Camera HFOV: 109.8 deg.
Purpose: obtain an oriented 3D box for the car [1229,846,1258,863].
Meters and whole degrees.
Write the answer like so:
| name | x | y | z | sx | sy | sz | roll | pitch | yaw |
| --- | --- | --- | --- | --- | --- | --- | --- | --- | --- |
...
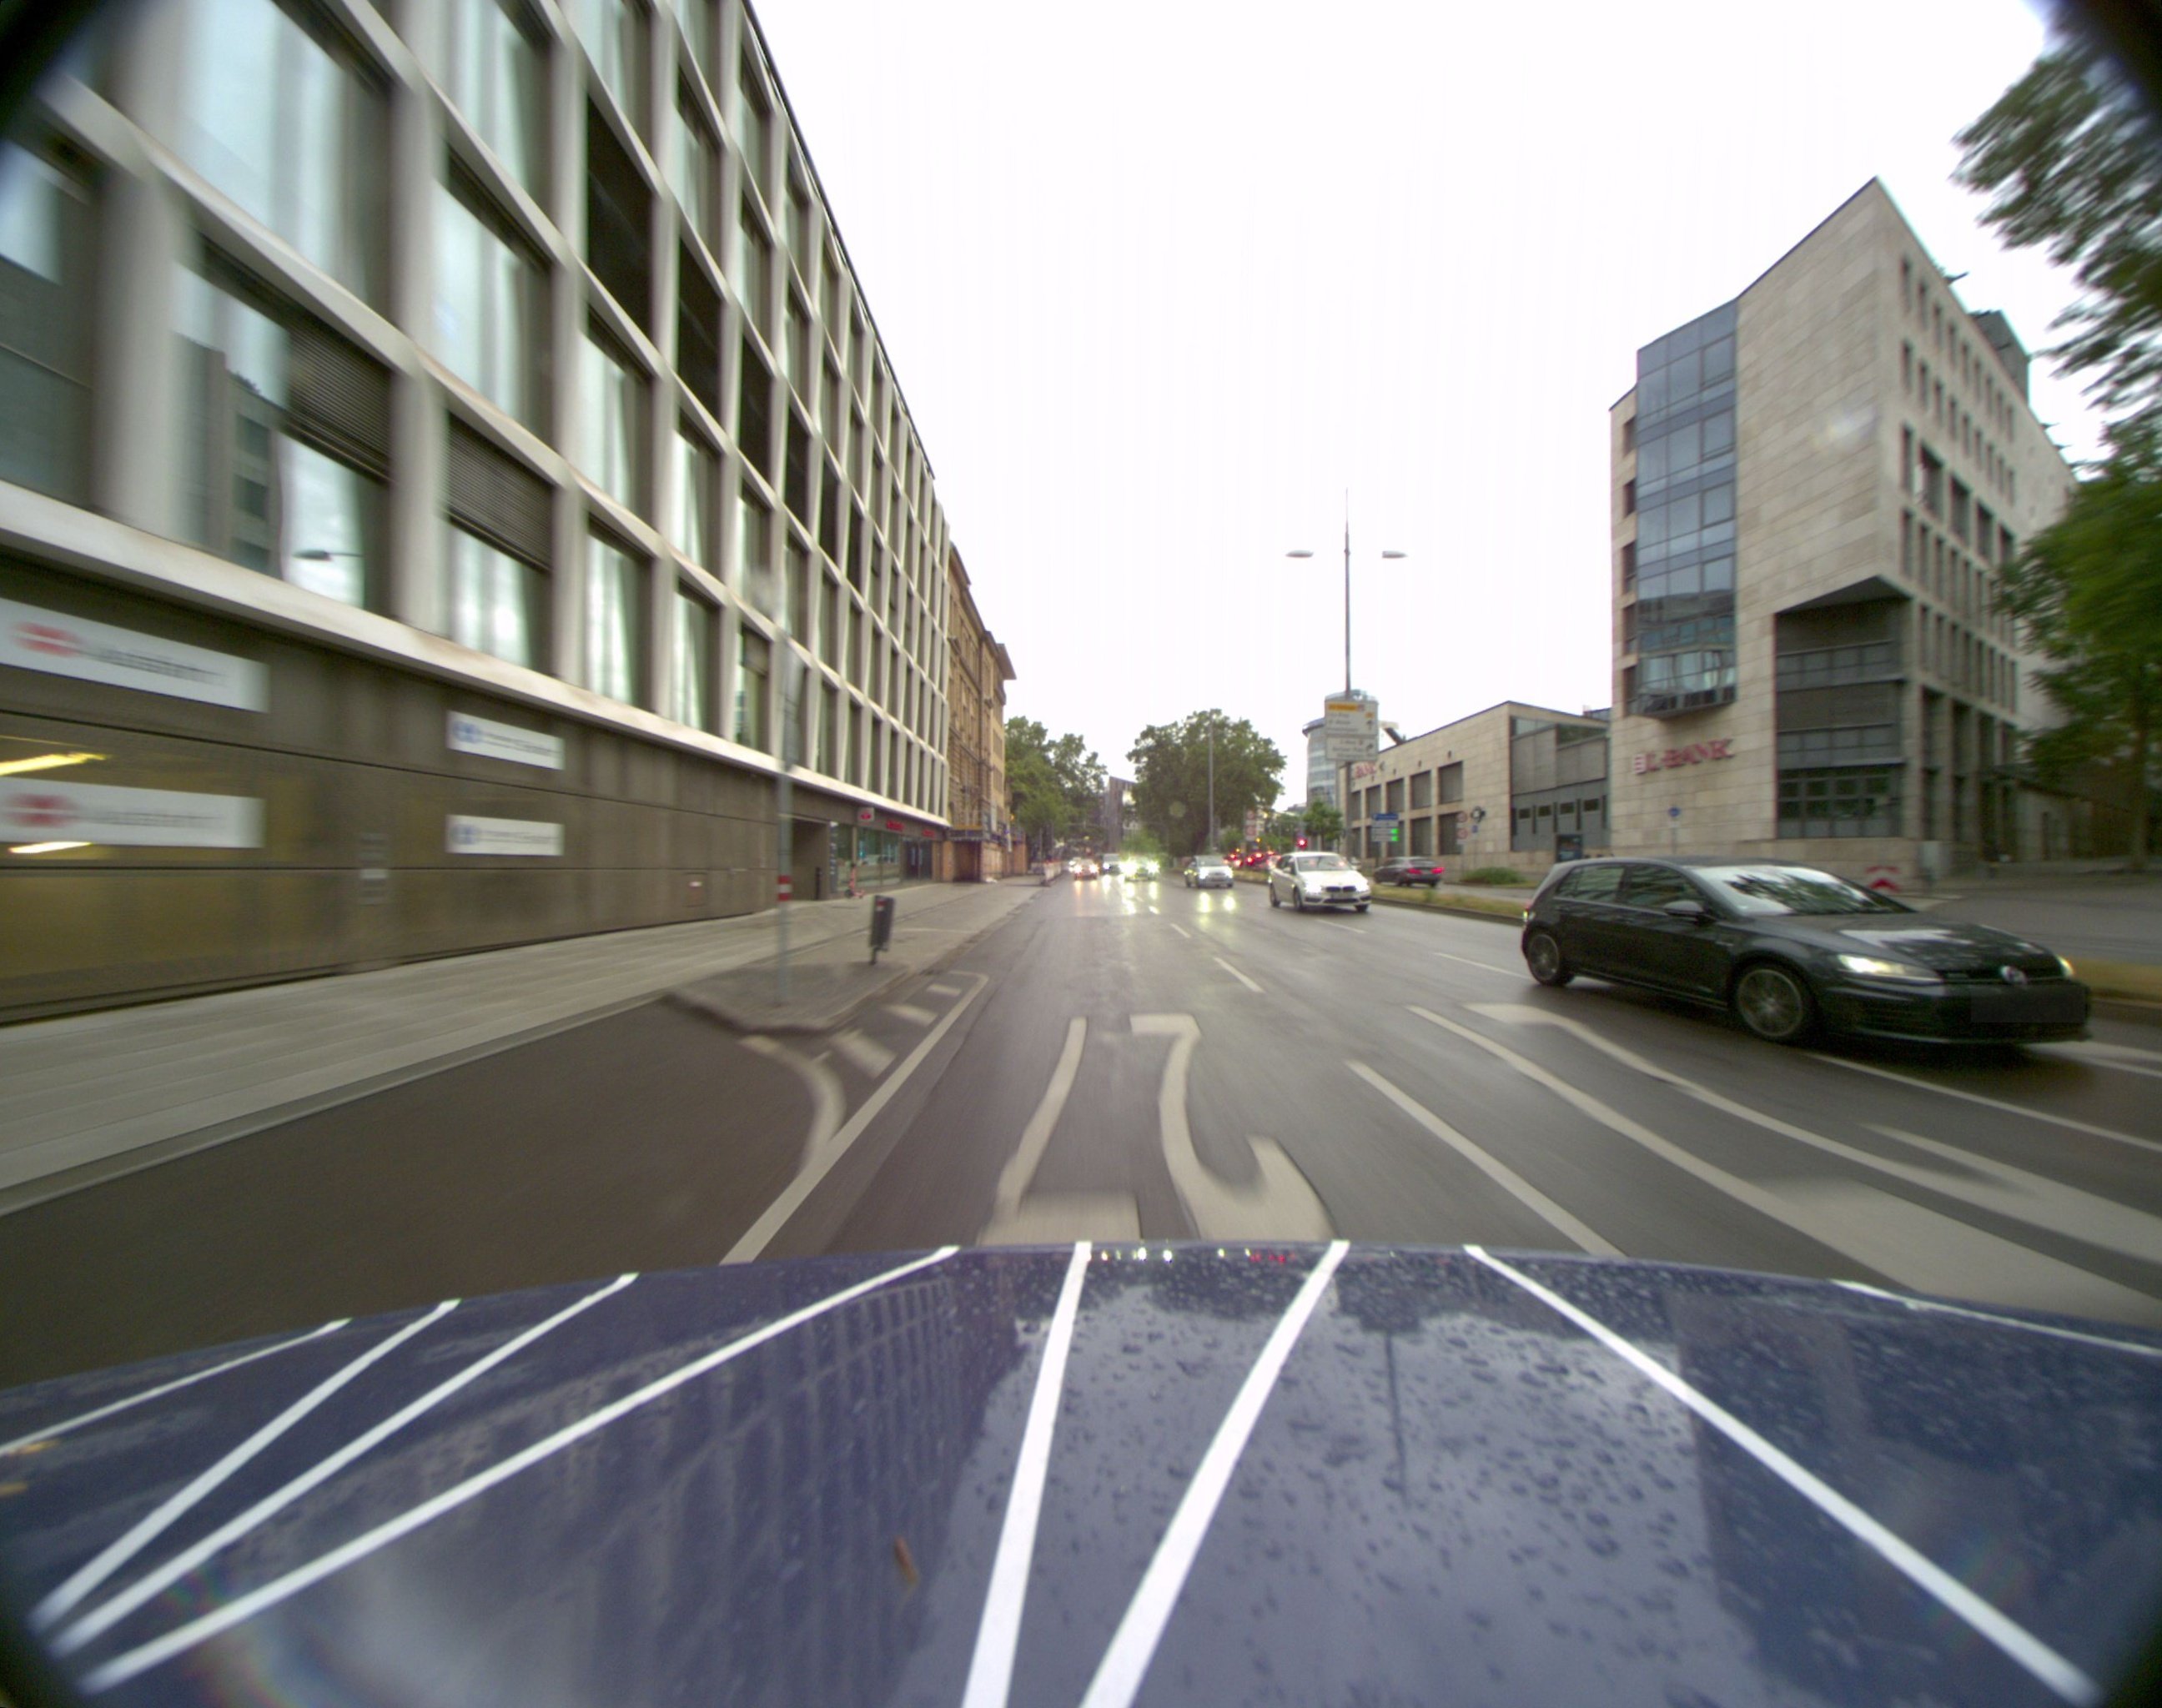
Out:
| name | x | y | z | sx | sy | sz | roll | pitch | yaw |
| --- | --- | --- | --- | --- | --- | --- | --- | --- | --- |
| car | 14.477 | 0.057 | 67.908 | 1.864 | 1.433 | 4.314 | -1 | 0 | 4 |

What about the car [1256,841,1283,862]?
| name | x | y | z | sx | sy | sz | roll | pitch | yaw |
| --- | --- | --- | --- | --- | --- | --- | --- | --- | --- |
| car | 18.524 | -0.254 | 74.709 | 1.835 | 1.991 | 5.105 | 0 | 1 | 5 |

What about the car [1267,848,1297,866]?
| name | x | y | z | sx | sy | sz | roll | pitch | yaw |
| --- | --- | --- | --- | --- | --- | --- | --- | --- | --- |
| car | 17.829 | 0.246 | 67.521 | 1.730 | 1.424 | 4.396 | 0 | 1 | 4 |

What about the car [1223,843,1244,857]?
| name | x | y | z | sx | sy | sz | roll | pitch | yaw |
| --- | --- | --- | --- | --- | --- | --- | --- | --- | --- |
| car | 15.140 | -0.438 | 75.639 | 1.751 | 1.357 | 3.944 | 0 | 1 | 6 |

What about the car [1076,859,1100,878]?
| name | x | y | z | sx | sy | sz | roll | pitch | yaw |
| --- | --- | --- | --- | --- | --- | --- | --- | --- | --- |
| car | 0.499 | 1.050 | 54.578 | 1.716 | 1.274 | 3.494 | 0 | 0 | 0 |

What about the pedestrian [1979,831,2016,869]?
| name | x | y | z | sx | sy | sz | roll | pitch | yaw |
| --- | --- | --- | --- | --- | --- | --- | --- | --- | --- |
| pedestrian | 38.955 | -0.162 | 32.300 | 0.669 | 1.561 | 0.820 | -1 | -1 | -21 |

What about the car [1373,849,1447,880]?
| name | x | y | z | sx | sy | sz | roll | pitch | yaw |
| --- | --- | --- | --- | --- | --- | --- | --- | --- | --- |
| car | 16.298 | 0.483 | 37.927 | 1.695 | 1.430 | 4.758 | 0 | 1 | 1 |

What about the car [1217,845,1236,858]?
| name | x | y | z | sx | sy | sz | roll | pitch | yaw |
| --- | --- | --- | --- | --- | --- | --- | --- | --- | --- |
| car | 15.856 | -0.249 | 82.858 | 1.751 | 1.357 | 4.132 | 0 | 1 | 6 |

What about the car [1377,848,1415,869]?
| name | x | y | z | sx | sy | sz | roll | pitch | yaw |
| --- | --- | --- | --- | --- | --- | --- | --- | --- | --- |
| car | 22.460 | 0.280 | 54.244 | 1.595 | 1.407 | 3.402 | 0 | 1 | 5 |

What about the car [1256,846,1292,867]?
| name | x | y | z | sx | sy | sz | roll | pitch | yaw |
| --- | --- | --- | --- | --- | --- | --- | --- | --- | --- |
| car | 13.188 | 0.163 | 52.070 | 1.600 | 1.352 | 4.116 | 0 | 1 | 3 |

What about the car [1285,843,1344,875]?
| name | x | y | z | sx | sy | sz | roll | pitch | yaw |
| --- | --- | --- | --- | --- | --- | --- | --- | --- | --- |
| car | 12.888 | 0.251 | 42.218 | 1.878 | 1.670 | 4.680 | 0 | 1 | 0 |

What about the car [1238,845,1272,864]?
| name | x | y | z | sx | sy | sz | roll | pitch | yaw |
| --- | --- | --- | --- | --- | --- | --- | --- | --- | --- |
| car | 13.704 | 0.007 | 59.955 | 1.704 | 1.429 | 4.581 | 0 | 1 | 1 |

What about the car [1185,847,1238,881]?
| name | x | y | z | sx | sy | sz | roll | pitch | yaw |
| --- | --- | --- | --- | --- | --- | --- | --- | --- | --- |
| car | 6.157 | 0.453 | 36.199 | 1.612 | 1.433 | 3.492 | -3 | 0 | -4 |

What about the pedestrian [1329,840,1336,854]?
| name | x | y | z | sx | sy | sz | roll | pitch | yaw |
| --- | --- | --- | --- | --- | --- | --- | --- | --- | --- |
| pedestrian | 36.952 | -1.030 | 111.657 | 0.589 | 1.913 | 1.125 | -2 | 0 | 1 |

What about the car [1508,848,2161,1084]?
| name | x | y | z | sx | sy | sz | roll | pitch | yaw |
| --- | --- | --- | --- | --- | --- | --- | --- | --- | --- |
| car | 5.987 | 0.698 | 6.857 | 1.789 | 1.444 | 4.122 | -1 | 0 | -3 |

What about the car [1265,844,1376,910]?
| name | x | y | z | sx | sy | sz | roll | pitch | yaw |
| --- | --- | --- | --- | --- | --- | --- | --- | --- | --- |
| car | 6.391 | 0.549 | 20.713 | 1.781 | 1.587 | 3.999 | -1 | 1 | 0 |

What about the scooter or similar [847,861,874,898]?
| name | x | y | z | sx | sy | sz | roll | pitch | yaw |
| --- | --- | --- | --- | --- | --- | --- | --- | --- | --- |
| scooter or similar | -7.671 | 0.878 | 26.500 | 0.412 | 1.229 | 1.190 | -1 | 0 | 9 |

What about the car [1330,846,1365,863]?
| name | x | y | z | sx | sy | sz | roll | pitch | yaw |
| --- | --- | --- | --- | --- | --- | --- | --- | --- | --- |
| car | 23.348 | 0.040 | 66.717 | 1.751 | 1.407 | 4.706 | 0 | 1 | 5 |

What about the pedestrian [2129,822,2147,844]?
| name | x | y | z | sx | sy | sz | roll | pitch | yaw |
| --- | --- | --- | --- | --- | --- | --- | --- | --- | --- |
| pedestrian | 78.078 | -1.559 | 56.124 | 0.543 | 1.561 | 0.701 | -1 | -1 | -29 |

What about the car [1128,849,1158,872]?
| name | x | y | z | sx | sy | sz | roll | pitch | yaw |
| --- | --- | --- | --- | --- | --- | --- | --- | --- | --- |
| car | 3.938 | 0.405 | 48.827 | 1.716 | 1.433 | 3.494 | 1 | 0 | 1 |

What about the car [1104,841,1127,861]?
| name | x | y | z | sx | sy | sz | roll | pitch | yaw |
| --- | --- | --- | --- | --- | --- | --- | --- | --- | --- |
| car | 3.055 | -0.281 | 67.713 | 1.998 | 1.734 | 3.910 | -1 | 0 | 2 |
